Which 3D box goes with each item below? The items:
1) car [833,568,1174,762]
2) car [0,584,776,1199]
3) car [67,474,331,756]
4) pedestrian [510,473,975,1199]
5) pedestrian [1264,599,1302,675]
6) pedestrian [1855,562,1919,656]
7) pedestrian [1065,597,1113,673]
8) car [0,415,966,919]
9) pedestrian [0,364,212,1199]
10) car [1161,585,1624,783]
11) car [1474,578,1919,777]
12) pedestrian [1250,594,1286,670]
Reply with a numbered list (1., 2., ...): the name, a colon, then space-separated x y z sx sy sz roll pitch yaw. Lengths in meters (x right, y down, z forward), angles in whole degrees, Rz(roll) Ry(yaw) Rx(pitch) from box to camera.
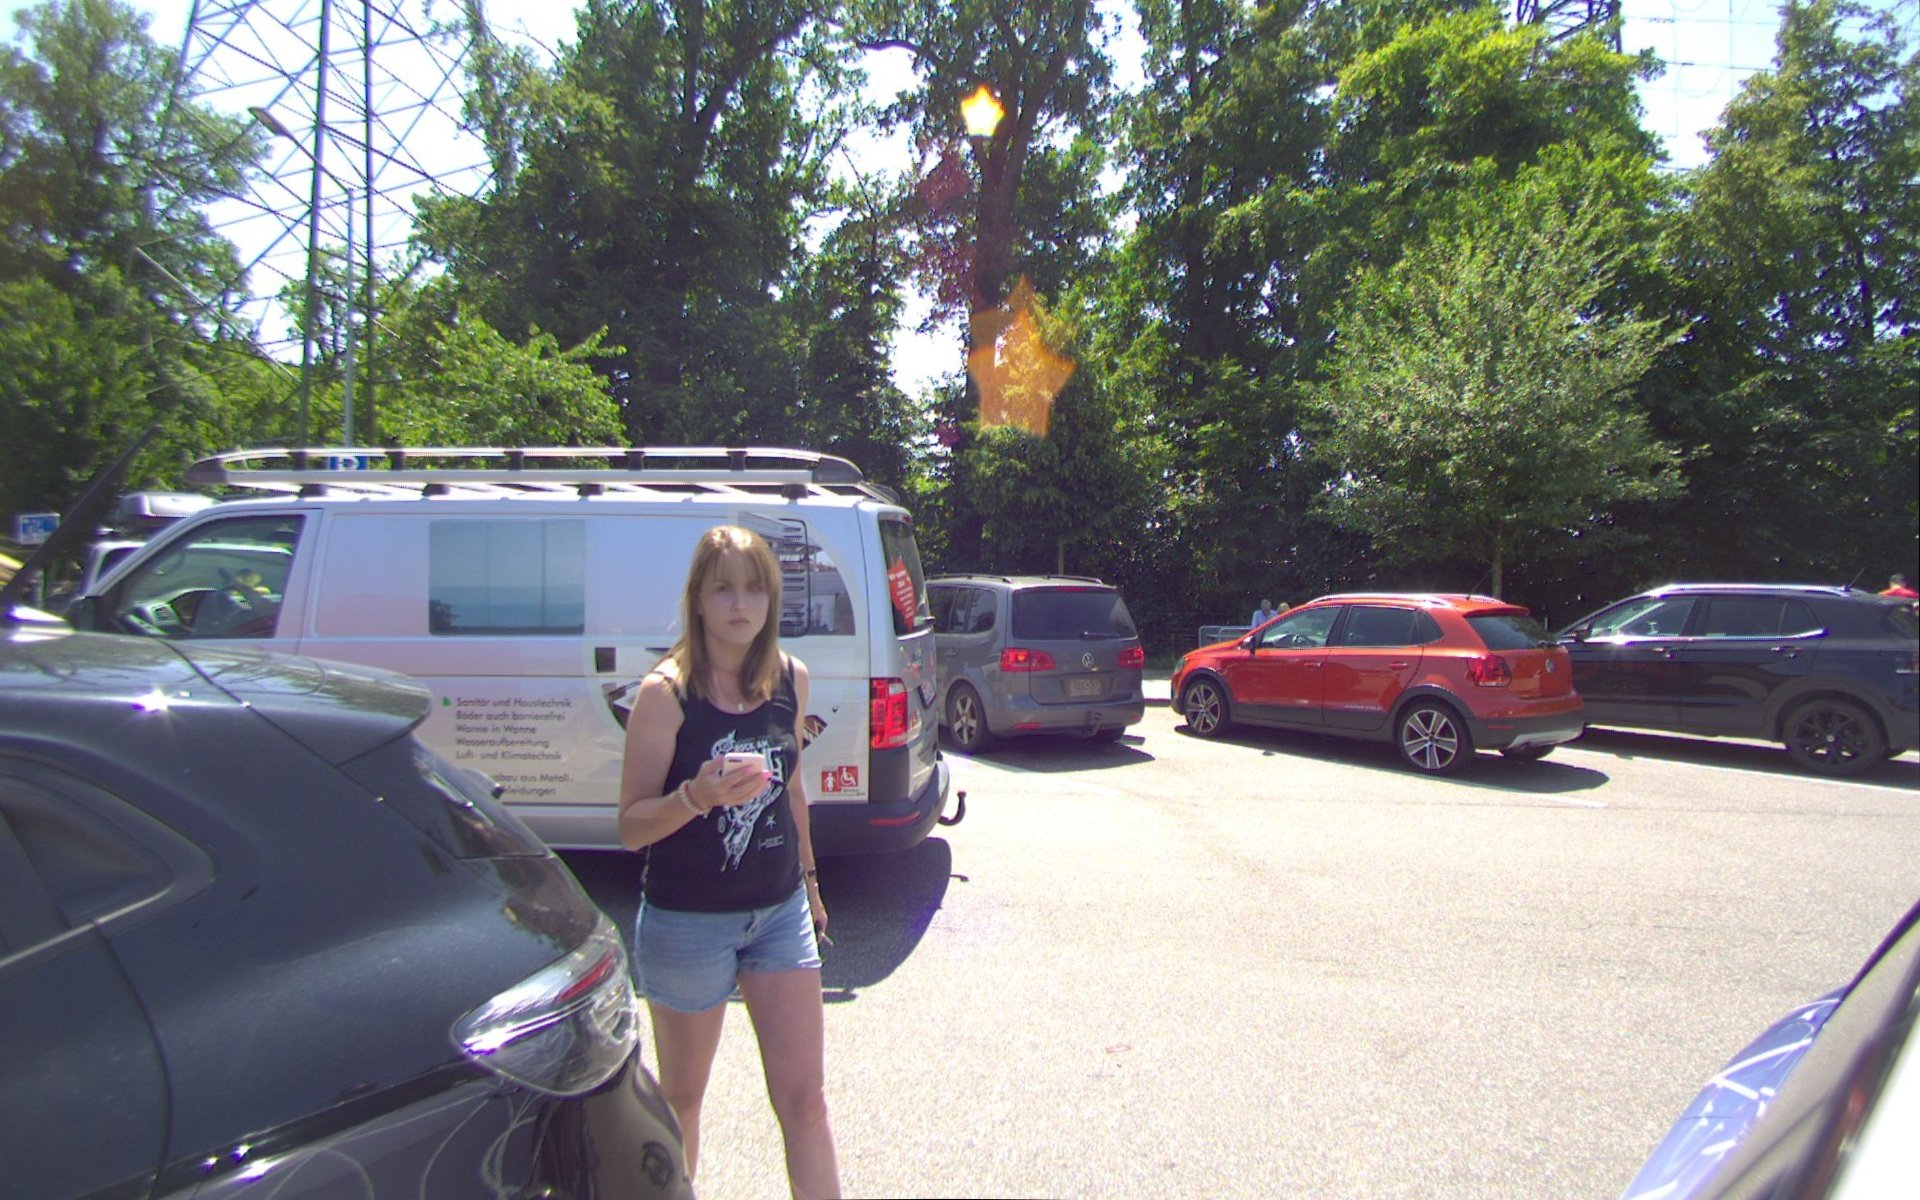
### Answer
1. car: 0.234 0.502 10.558 1.717 1.611 3.961 0 1 -30
2. car: -2.112 0.719 0.596 1.615 1.503 3.706 0 -1 44
3. car: -8.049 0.090 10.636 1.885 2.353 4.089 0 1 -40
4. pedestrian: -0.431 0.607 2.023 0.646 1.606 0.644 0 -1 43
5. pedestrian: 5.706 0.641 17.903 0.495 1.316 0.491 1 -1 0
6. pedestrian: 13.792 0.130 14.686 0.846 1.316 0.894 1 -1 -18
7. pedestrian: 2.144 0.578 16.850 0.660 1.235 0.682 1 -2 -5
8. car: -2.632 0.247 5.566 5.217 2.177 1.998 1 0 4
9. pedestrian: -2.480 0.432 2.366 0.759 1.896 0.917 1 -1 -2
10. car: 3.864 0.607 9.650 1.604 1.476 3.810 0 1 -34
11. car: 7.255 0.578 9.682 1.727 1.566 3.806 0 1 -39
12. pedestrian: 5.787 0.591 19.027 0.495 1.393 0.491 1 -1 0
